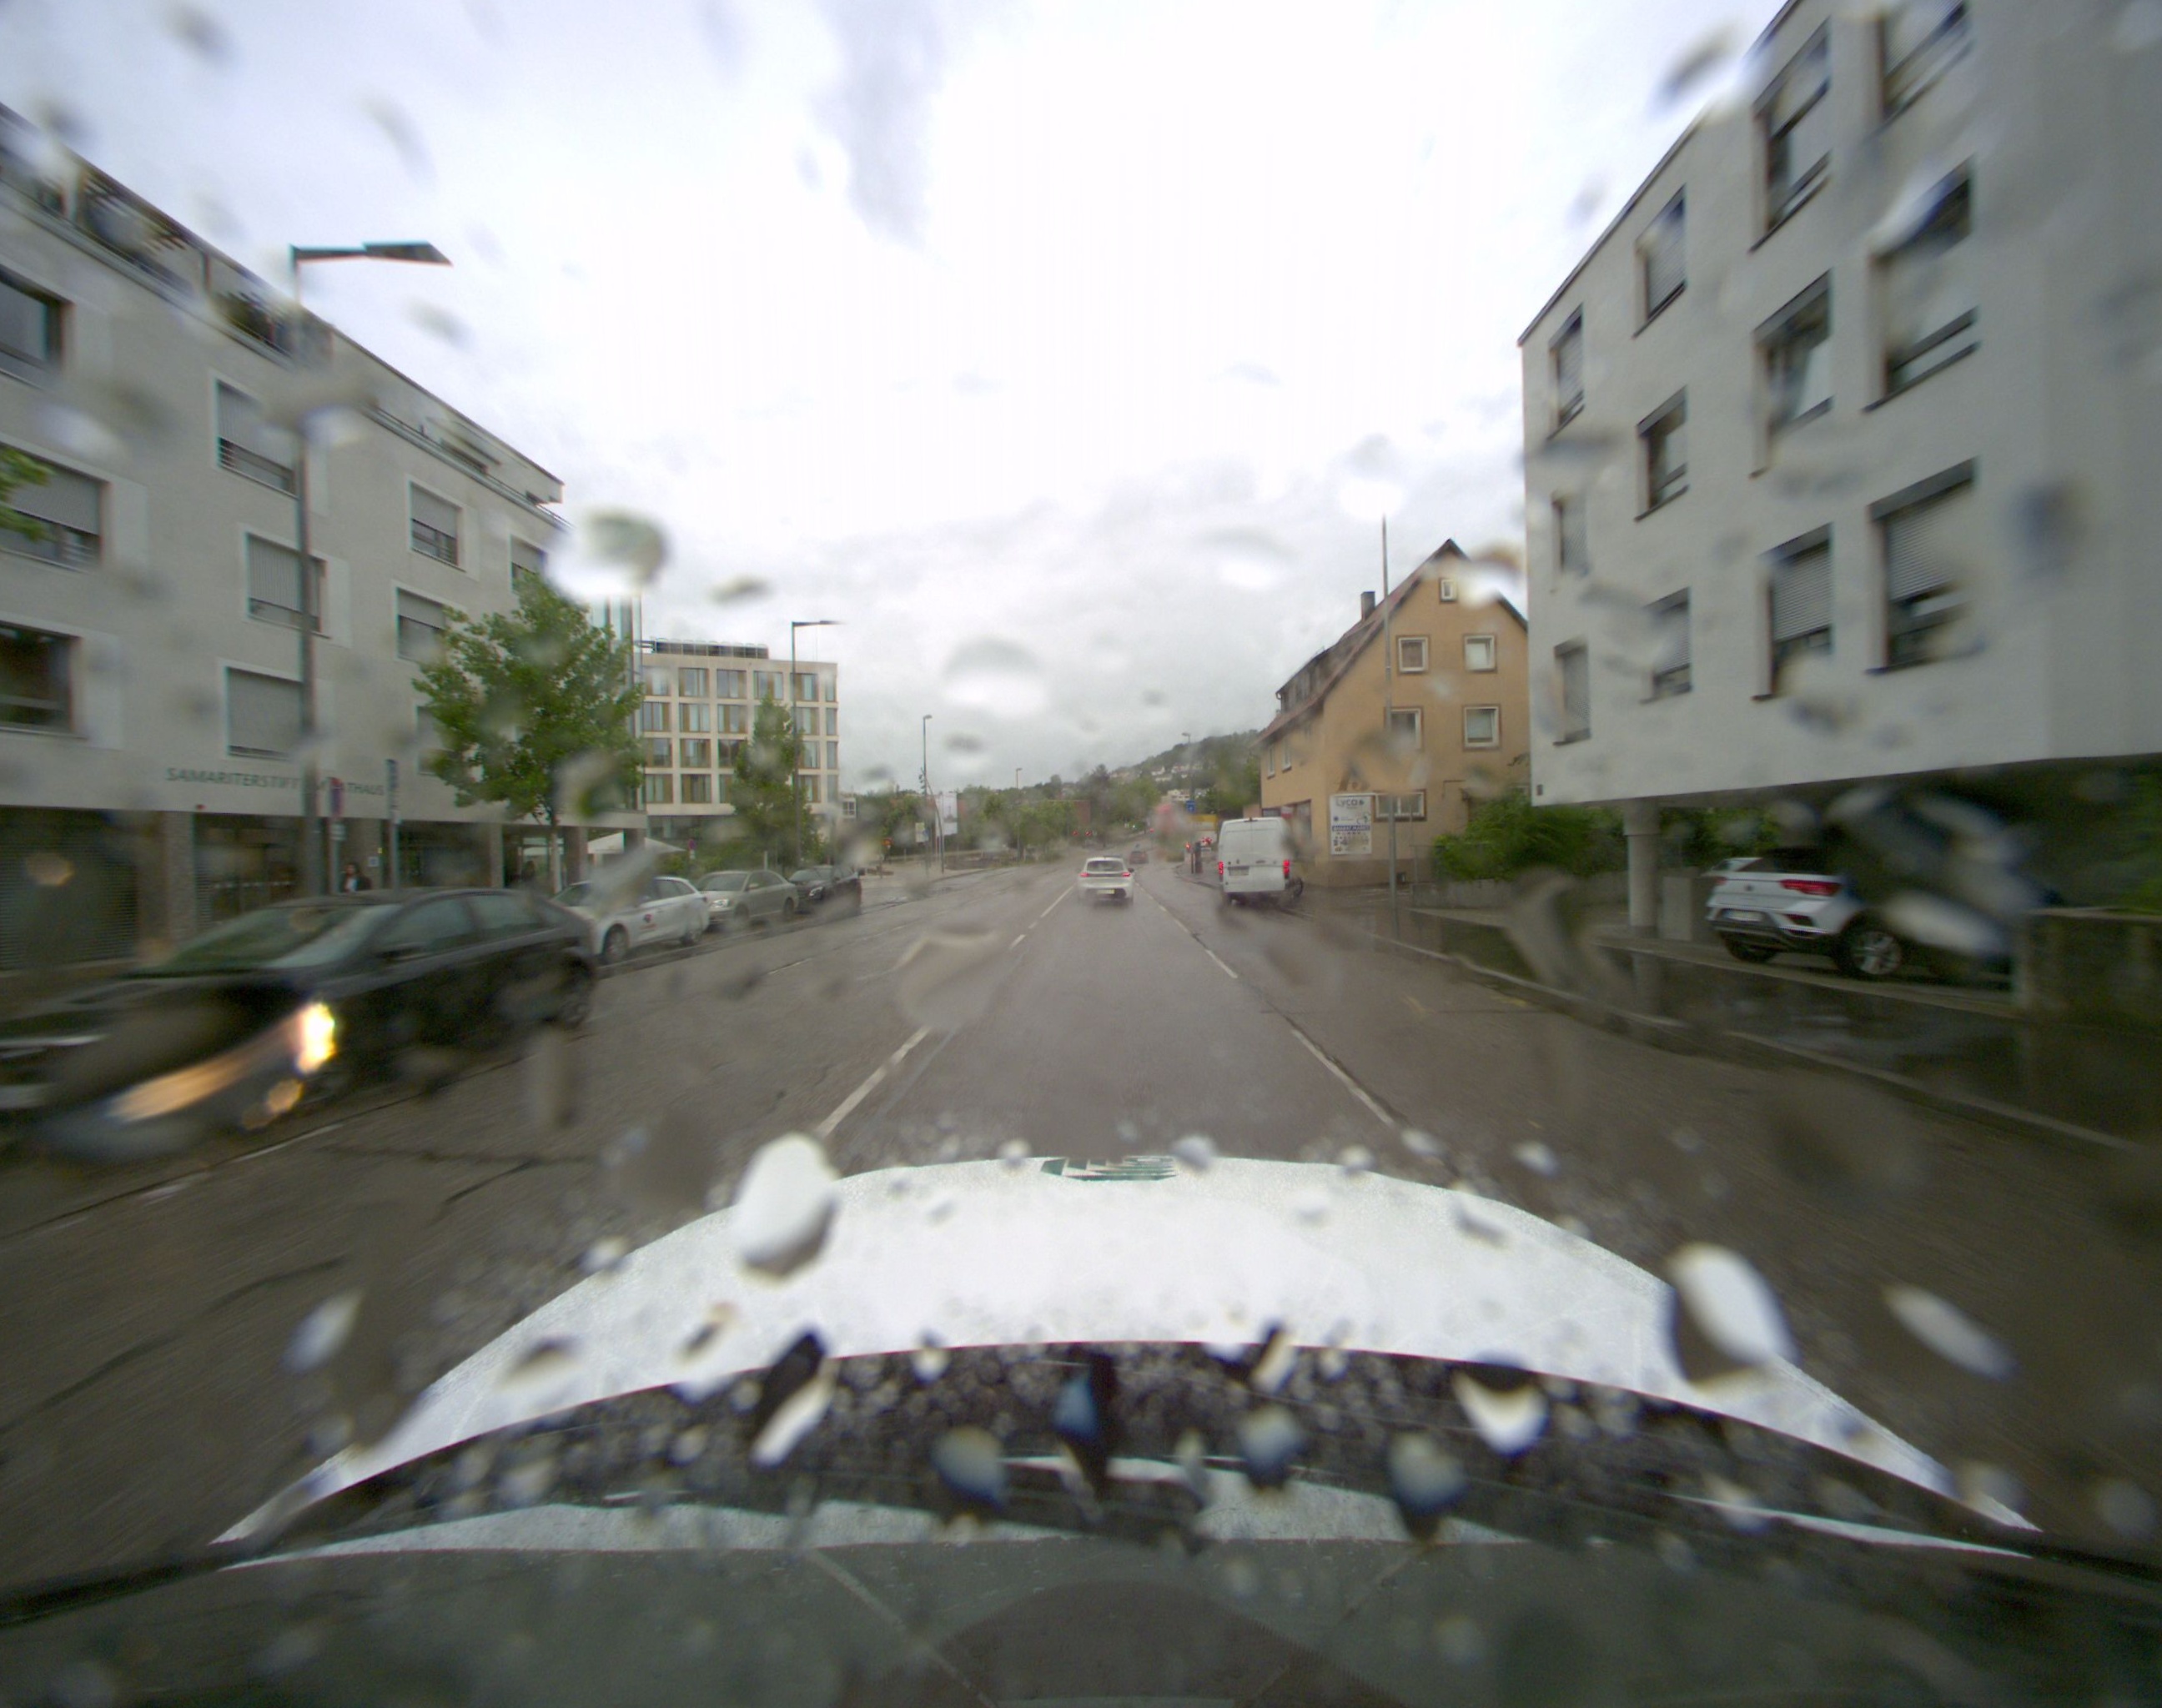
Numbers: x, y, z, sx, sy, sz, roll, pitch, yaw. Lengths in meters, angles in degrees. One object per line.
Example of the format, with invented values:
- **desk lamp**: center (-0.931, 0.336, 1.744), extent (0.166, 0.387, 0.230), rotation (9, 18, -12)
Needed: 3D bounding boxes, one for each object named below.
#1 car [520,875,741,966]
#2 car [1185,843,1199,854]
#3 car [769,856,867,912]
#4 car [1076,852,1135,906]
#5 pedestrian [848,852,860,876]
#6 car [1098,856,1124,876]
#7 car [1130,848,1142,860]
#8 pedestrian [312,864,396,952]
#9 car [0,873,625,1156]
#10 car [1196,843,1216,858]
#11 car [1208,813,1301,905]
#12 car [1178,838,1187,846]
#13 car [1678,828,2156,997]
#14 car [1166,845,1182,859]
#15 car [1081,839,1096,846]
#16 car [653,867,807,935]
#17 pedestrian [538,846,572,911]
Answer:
- **car**: center (-8.504, 1.174, 15.916), extent (1.789, 1.463, 4.477), rotation (-1, -1, 0)
- **car**: center (16.987, -0.869, 124.698), extent (1.642, 1.485, 3.366), rotation (-2, -1, 1)
- **car**: center (-8.486, 0.919, 26.675), extent (1.581, 1.582, 4.472), rotation (-2, 0, 2)
- **car**: center (0.770, 0.756, 25.899), extent (1.685, 1.519, 3.934), rotation (-2, -1, 1)
- **pedestrian**: center (-16.961, 0.727, 60.812), extent (0.783, 1.745, 0.671), rotation (-2, -2, -13)
- **car**: center (2.090, 0.816, 56.562), extent (1.734, 1.295, 3.336), rotation (-2, 0, 2)
- **car**: center (5.951, -0.013, 87.827), extent (1.207, 1.156, 2.273), rotation (-2, -1, 5)
- **pedestrian**: center (-15.136, 1.099, 16.986), extent (0.806, 1.738, 1.003), rotation (-2, -2, 1)
- **car**: center (-5.926, 0.959, 6.625), extent (1.873, 1.524, 4.187), rotation (-2, -1, 3)
- **car**: center (14.193, -0.419, 92.394), extent (1.718, 1.497, 4.498), rotation (-3, 1, 14)
- **car**: center (5.532, 0.193, 25.215), extent (2.273, 2.382, 6.653), rotation (-3, -1, 16)
- **car**: center (17.351, -2.044, 139.063), extent (1.379, 1.126, 2.613), rotation (-2, -1, 4)
- **car**: center (9.750, 0.628, 9.762), extent (3.778, 1.530, 1.820), rotation (5, 0, 0)
- **car**: center (10.761, -0.237, 94.558), extent (1.726, 1.387, 3.357), rotation (0, 3, 4)
- **car**: center (1.355, -2.139, 151.732), extent (2.432, 1.157, 1.359), rotation (-2, -1, -26)
- **car**: center (-8.884, 1.122, 21.093), extent (1.683, 1.510, 4.582), rotation (-2, -1, 4)
- **pedestrian**: center (-17.664, 0.813, 27.341), extent (0.740, 2.145, 0.775), rotation (-2, -2, 39)
